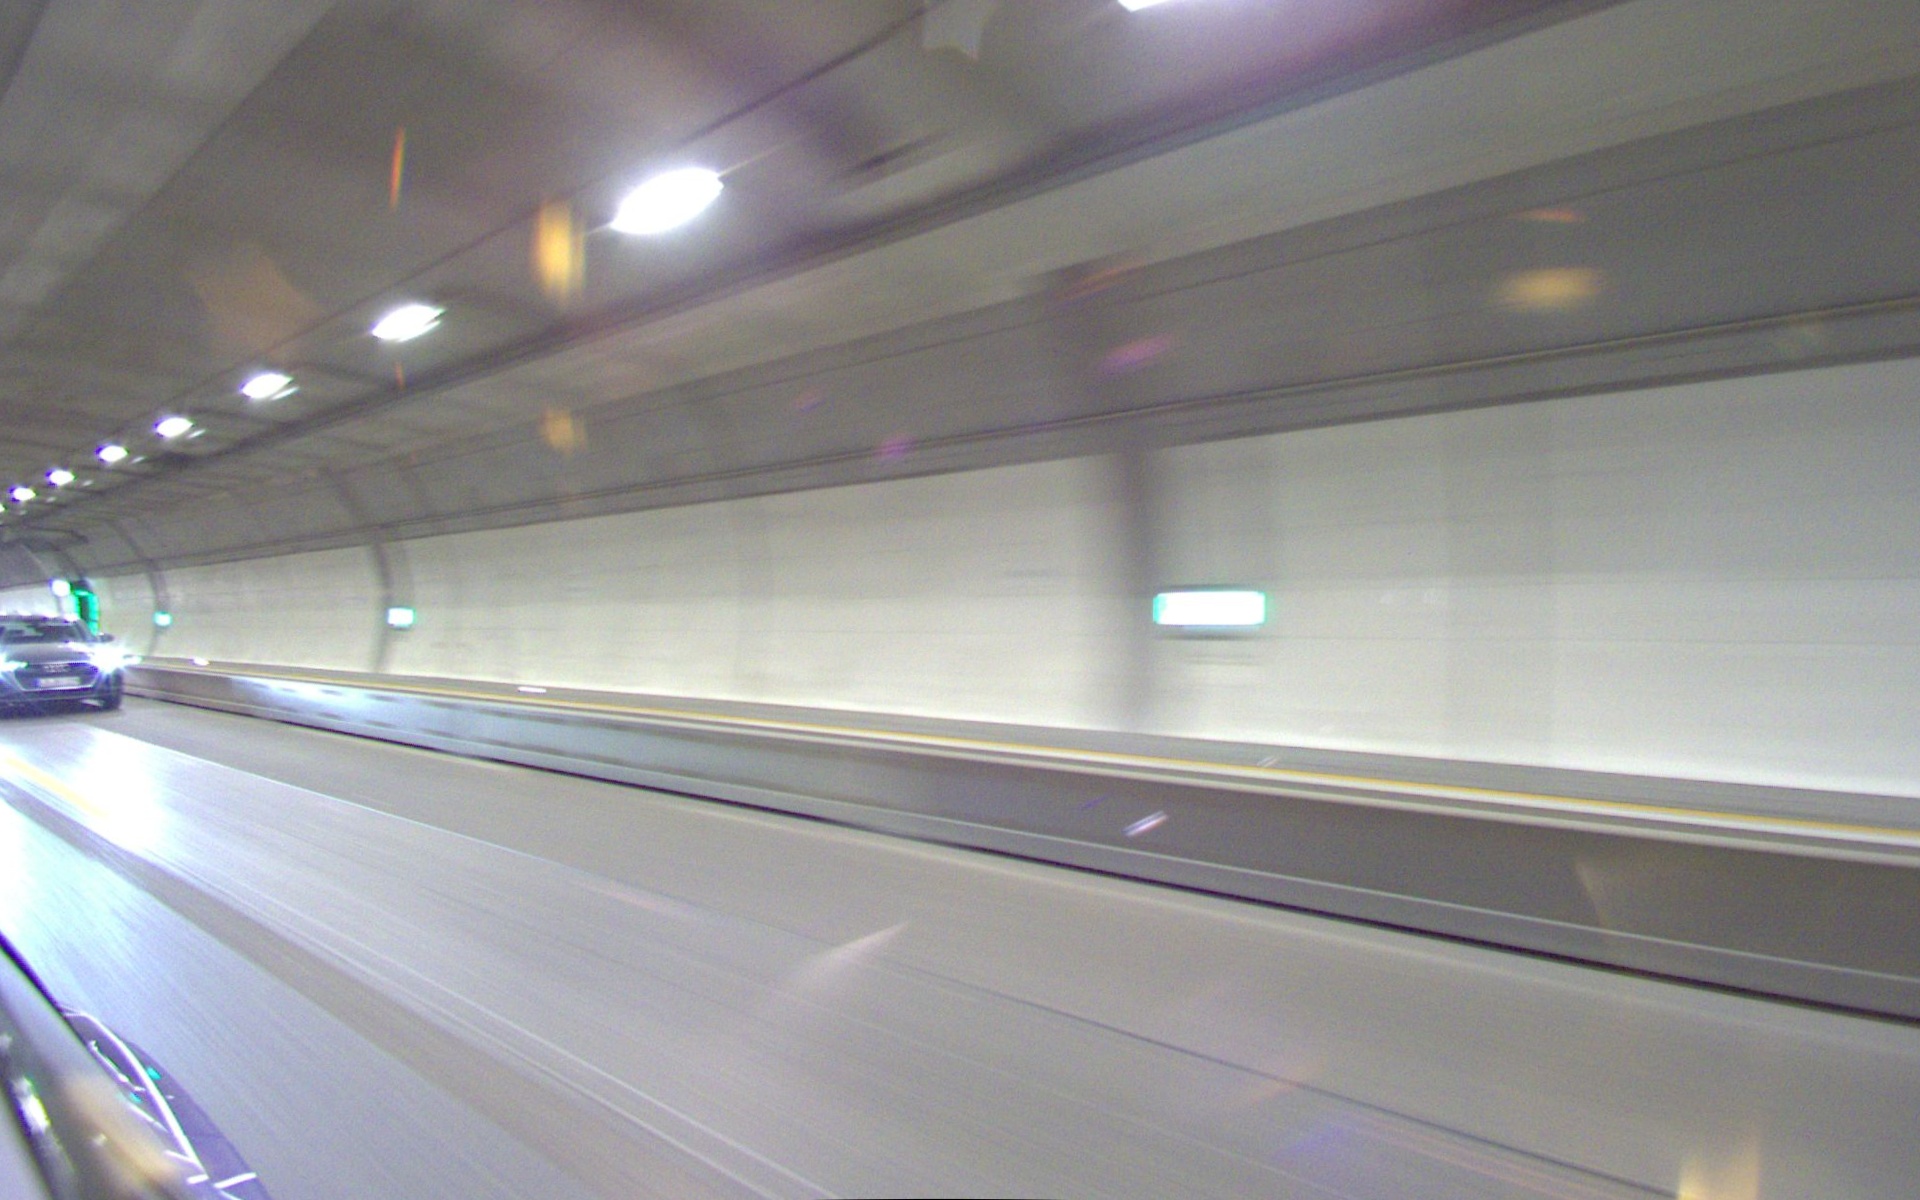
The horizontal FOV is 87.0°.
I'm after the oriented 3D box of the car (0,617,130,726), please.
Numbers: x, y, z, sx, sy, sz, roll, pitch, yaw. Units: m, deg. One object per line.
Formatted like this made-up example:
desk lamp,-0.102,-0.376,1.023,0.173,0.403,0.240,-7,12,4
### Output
car,-15.402,1.077,16.556,4.738,1.552,1.974,-1,0,40
